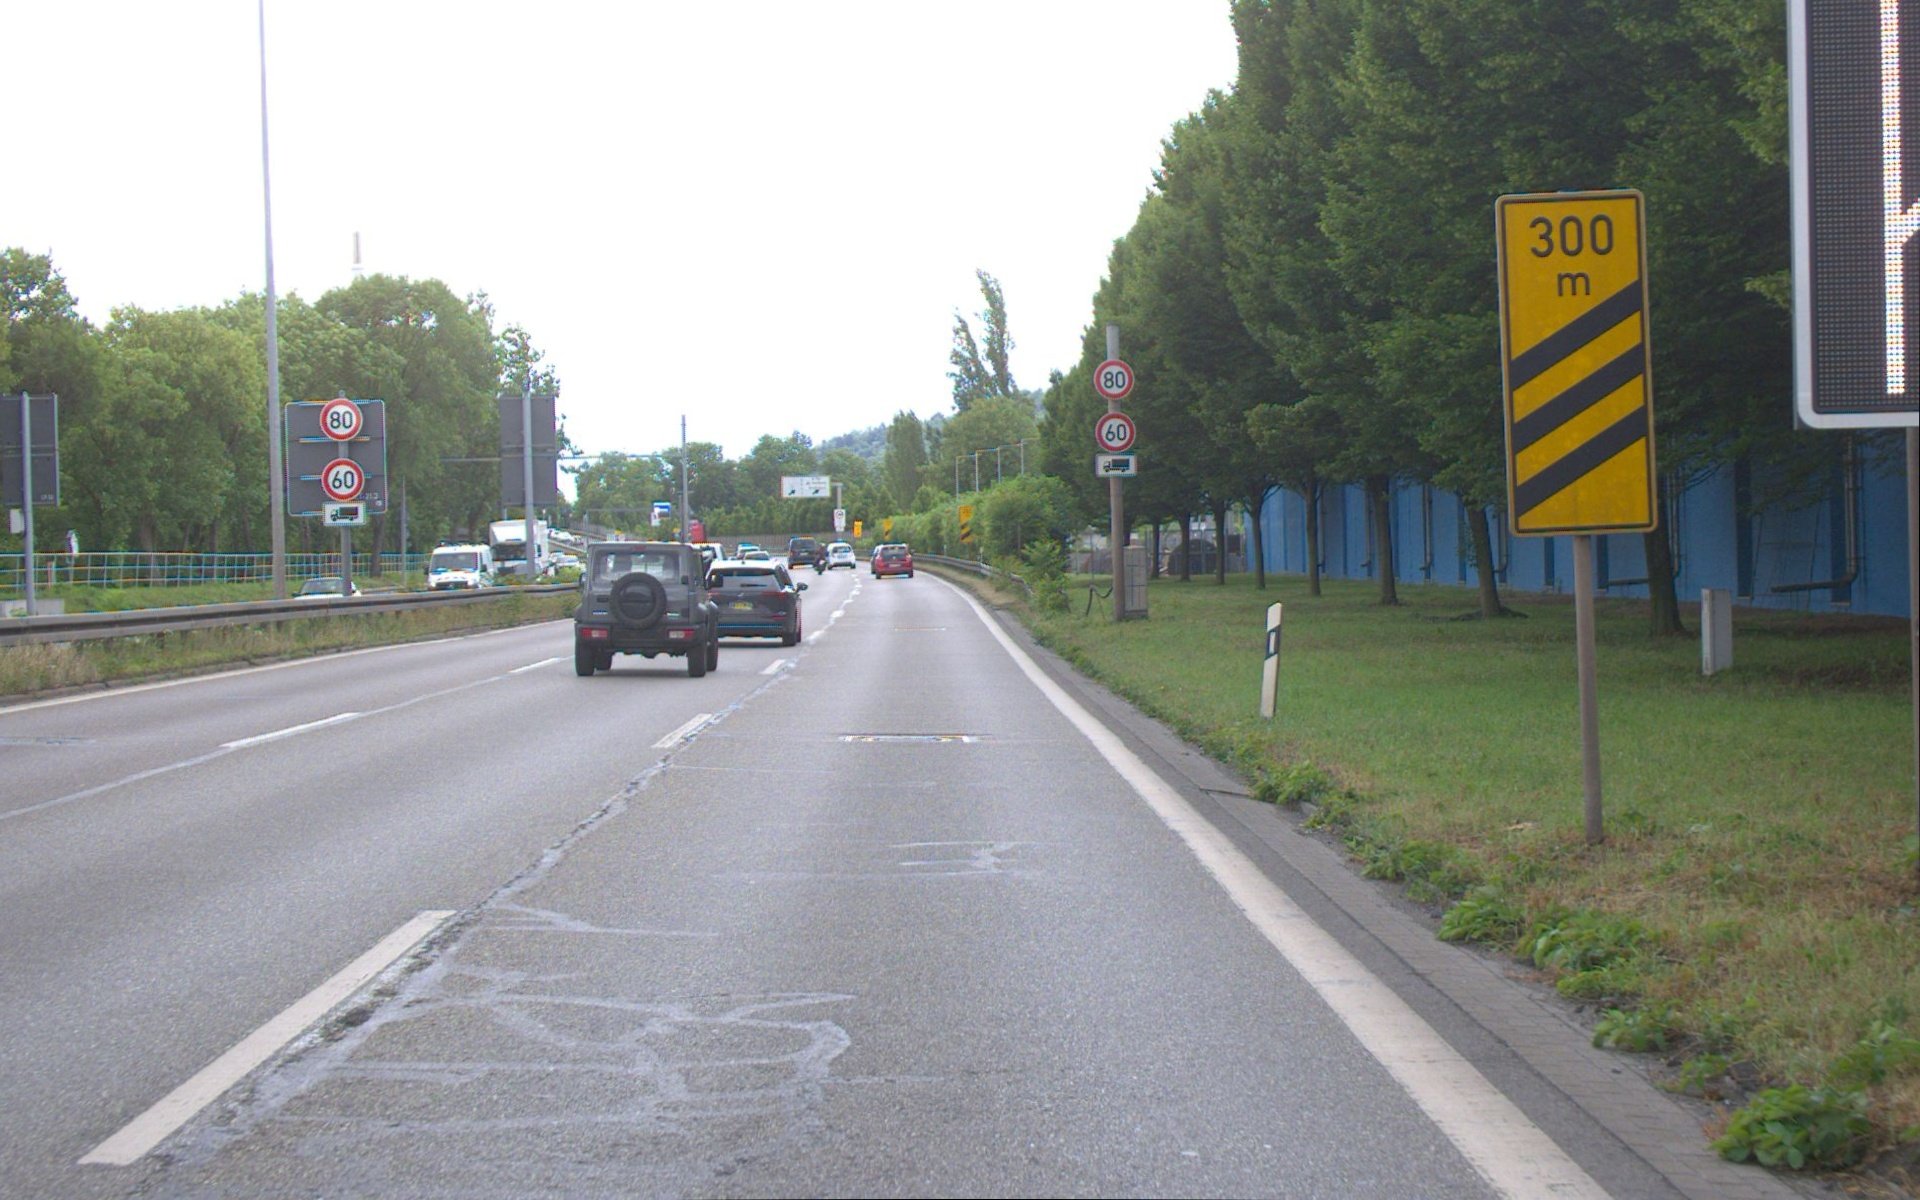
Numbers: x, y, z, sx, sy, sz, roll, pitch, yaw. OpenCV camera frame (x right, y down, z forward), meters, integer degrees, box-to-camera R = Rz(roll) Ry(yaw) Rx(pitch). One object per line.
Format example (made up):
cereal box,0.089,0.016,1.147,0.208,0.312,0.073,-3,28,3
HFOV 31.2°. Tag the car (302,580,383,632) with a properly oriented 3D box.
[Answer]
car,-17.997,0.164,100.372,1.659,1.393,3.989,-1,1,-1

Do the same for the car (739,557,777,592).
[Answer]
car,-10.808,-1.388,184.538,1.697,1.736,4.393,-3,1,0

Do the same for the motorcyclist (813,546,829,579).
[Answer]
motorcyclist,-7.421,-1.997,183.299,0.791,1.754,0.923,-1,1,0

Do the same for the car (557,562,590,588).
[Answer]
car,-26.456,-1.722,235.430,1.726,1.599,4.042,-4,1,-1

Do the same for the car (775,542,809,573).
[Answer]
car,-10.990,-2.790,225.235,2.013,1.927,4.901,-2,1,-2

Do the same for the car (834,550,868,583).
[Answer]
car,-6.647,-2.051,209.531,2.013,1.927,4.901,-2,1,-2

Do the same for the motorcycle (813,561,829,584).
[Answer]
motorcycle,-7.409,-1.474,183.287,0.791,1.215,2.330,-1,1,-1

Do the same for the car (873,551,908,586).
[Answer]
car,-3.552,-1.634,176.576,1.697,1.736,4.393,-2,1,0

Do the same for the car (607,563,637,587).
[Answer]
car,-24.702,-1.827,251.468,1.697,1.599,4.538,-4,1,-1

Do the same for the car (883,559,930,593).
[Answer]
car,-2.450,-1.100,155.546,1.974,1.418,4.901,-2,1,-2

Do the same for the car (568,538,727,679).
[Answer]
car,-3.966,0.067,44.140,1.697,1.680,4.000,1,1,-1

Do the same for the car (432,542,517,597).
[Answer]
car,-18.057,-1.137,128.181,2.226,1.941,5.474,-2,1,1

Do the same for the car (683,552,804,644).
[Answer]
car,-3.637,-0.066,58.427,1.845,1.418,4.901,-2,1,-2

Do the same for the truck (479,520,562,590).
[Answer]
truck,-23.678,-2.405,185.592,2.889,3.566,9.587,-2,1,1

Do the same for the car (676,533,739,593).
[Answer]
car,-7.528,-1.123,102.699,1.697,1.736,4.000,0,1,-2
